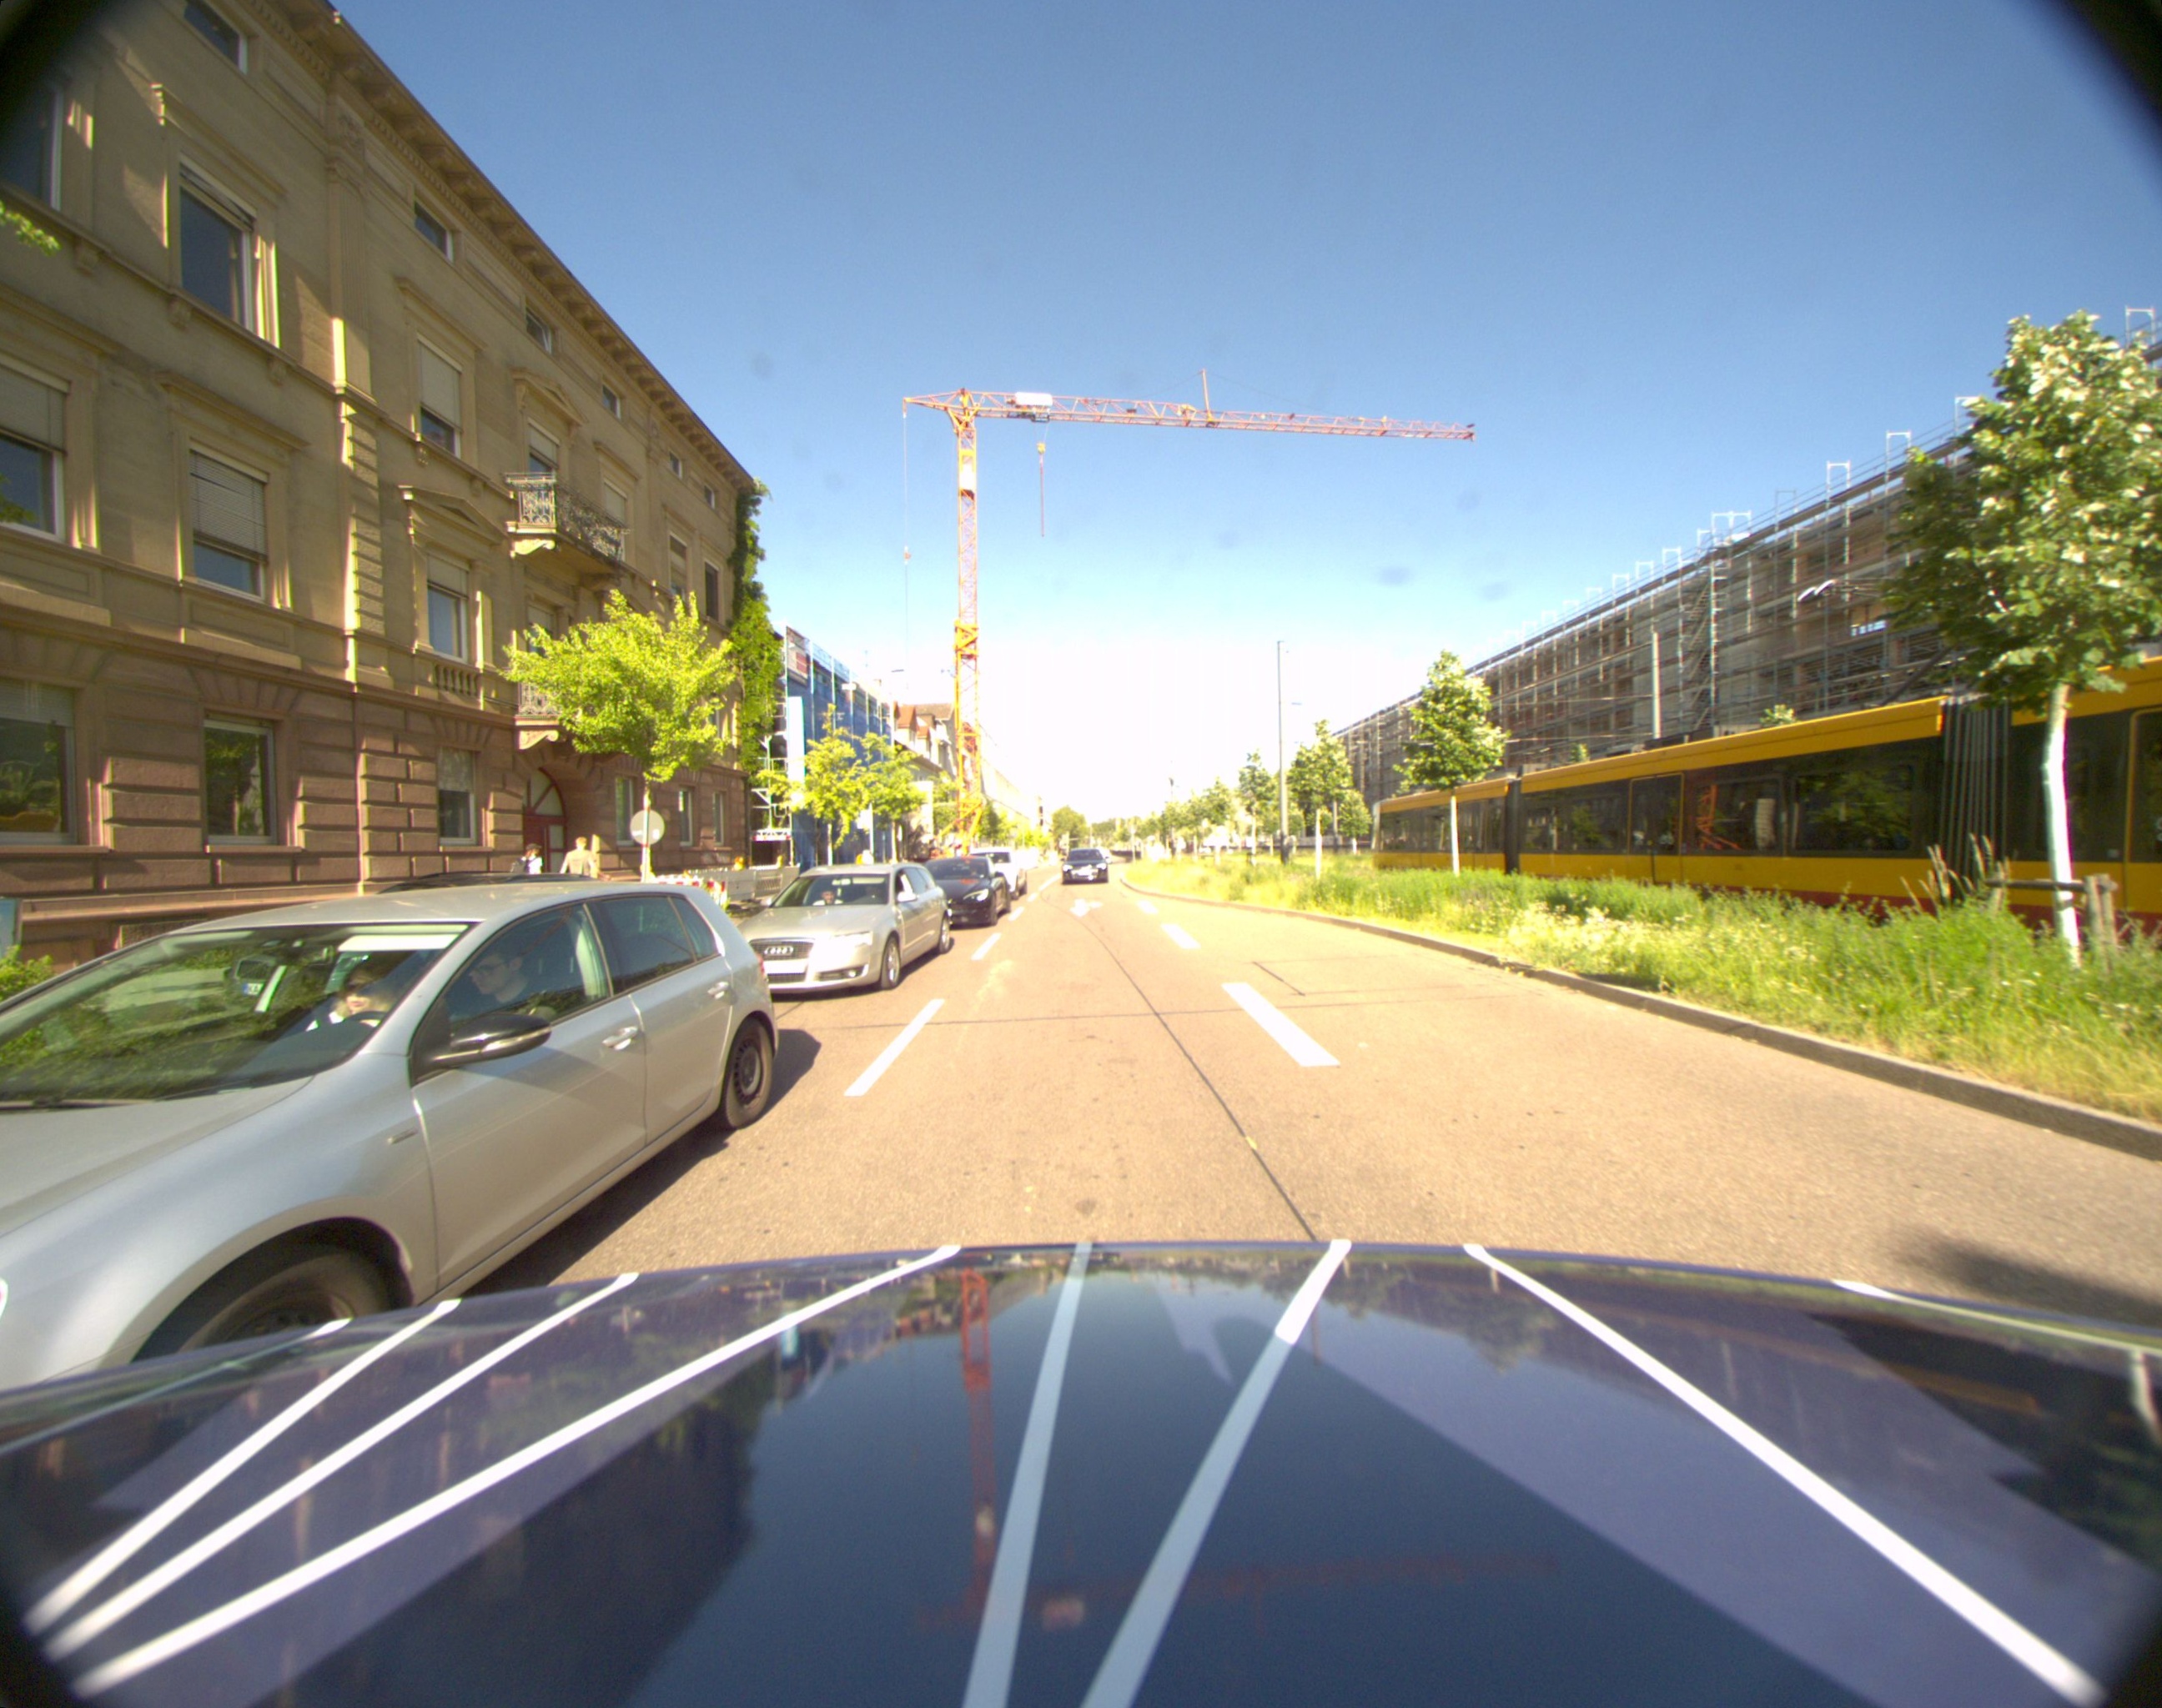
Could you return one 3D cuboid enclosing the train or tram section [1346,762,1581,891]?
[{"bbox_3d":[13.141,-0.881,28.053,2.822,3.618,12.789,-1,1,3],"label":"train or tram section"}]

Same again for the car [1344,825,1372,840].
[{"bbox_3d":[31.867,-2.437,87.514,1.795,1.641,3.999,-1,1,1],"label":"car"}]

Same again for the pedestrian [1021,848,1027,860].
[{"bbox_3d":[-9.920,-0.023,131.665,0.877,1.914,0.895,1,3,0],"label":"pedestrian"}]

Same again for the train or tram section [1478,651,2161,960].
[{"bbox_3d":[12.472,-0.669,15.353,2.822,3.618,12.789,-1,1,3],"label":"train or tram section"}]

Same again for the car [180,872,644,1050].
[{"bbox_3d":[-7.658,1.069,9.513,1.652,1.467,4.700,1,1,0],"label":"car"}]

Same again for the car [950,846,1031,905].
[{"bbox_3d":[-2.789,0.606,24.275,1.934,1.624,4.000,-3,1,1],"label":"car"}]

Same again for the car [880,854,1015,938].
[{"bbox_3d":[-2.717,0.800,16.606,2.056,1.435,4.523,-3,1,0],"label":"car"}]

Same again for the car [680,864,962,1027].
[{"bbox_3d":[-2.929,0.934,9.856,1.752,1.419,4.838,-2,1,3],"label":"car"}]

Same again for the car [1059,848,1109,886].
[{"bbox_3d":[0.204,0.494,32.134,1.927,1.435,4.177,-1,1,3],"label":"car"}]

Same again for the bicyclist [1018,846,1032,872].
[{"bbox_3d":[-3.223,0.266,43.569,0.755,1.454,0.587,-2,2,-5],"label":"bicyclist"}]

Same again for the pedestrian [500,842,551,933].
[{"bbox_3d":[-11.245,0.665,15.396,0.564,1.810,0.587,2,1,0],"label":"pedestrian"}]

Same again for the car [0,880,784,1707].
[{"bbox_3d":[-2.793,0.983,2.716,1.754,1.518,4.004,-2,1,1],"label":"car"}]

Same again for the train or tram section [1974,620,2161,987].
[{"bbox_3d":[11.828,-0.437,2.670,2.822,3.618,12.789,-1,1,3],"label":"train or tram section"}]

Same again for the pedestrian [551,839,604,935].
[{"bbox_3d":[-10.223,0.648,15.448,0.660,1.902,0.587,2,1,0],"label":"pedestrian"}]

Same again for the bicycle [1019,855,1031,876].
[{"bbox_3d":[-3.220,0.655,43.558,0.610,1.144,1.986,-1,1,-5],"label":"bicycle"}]
